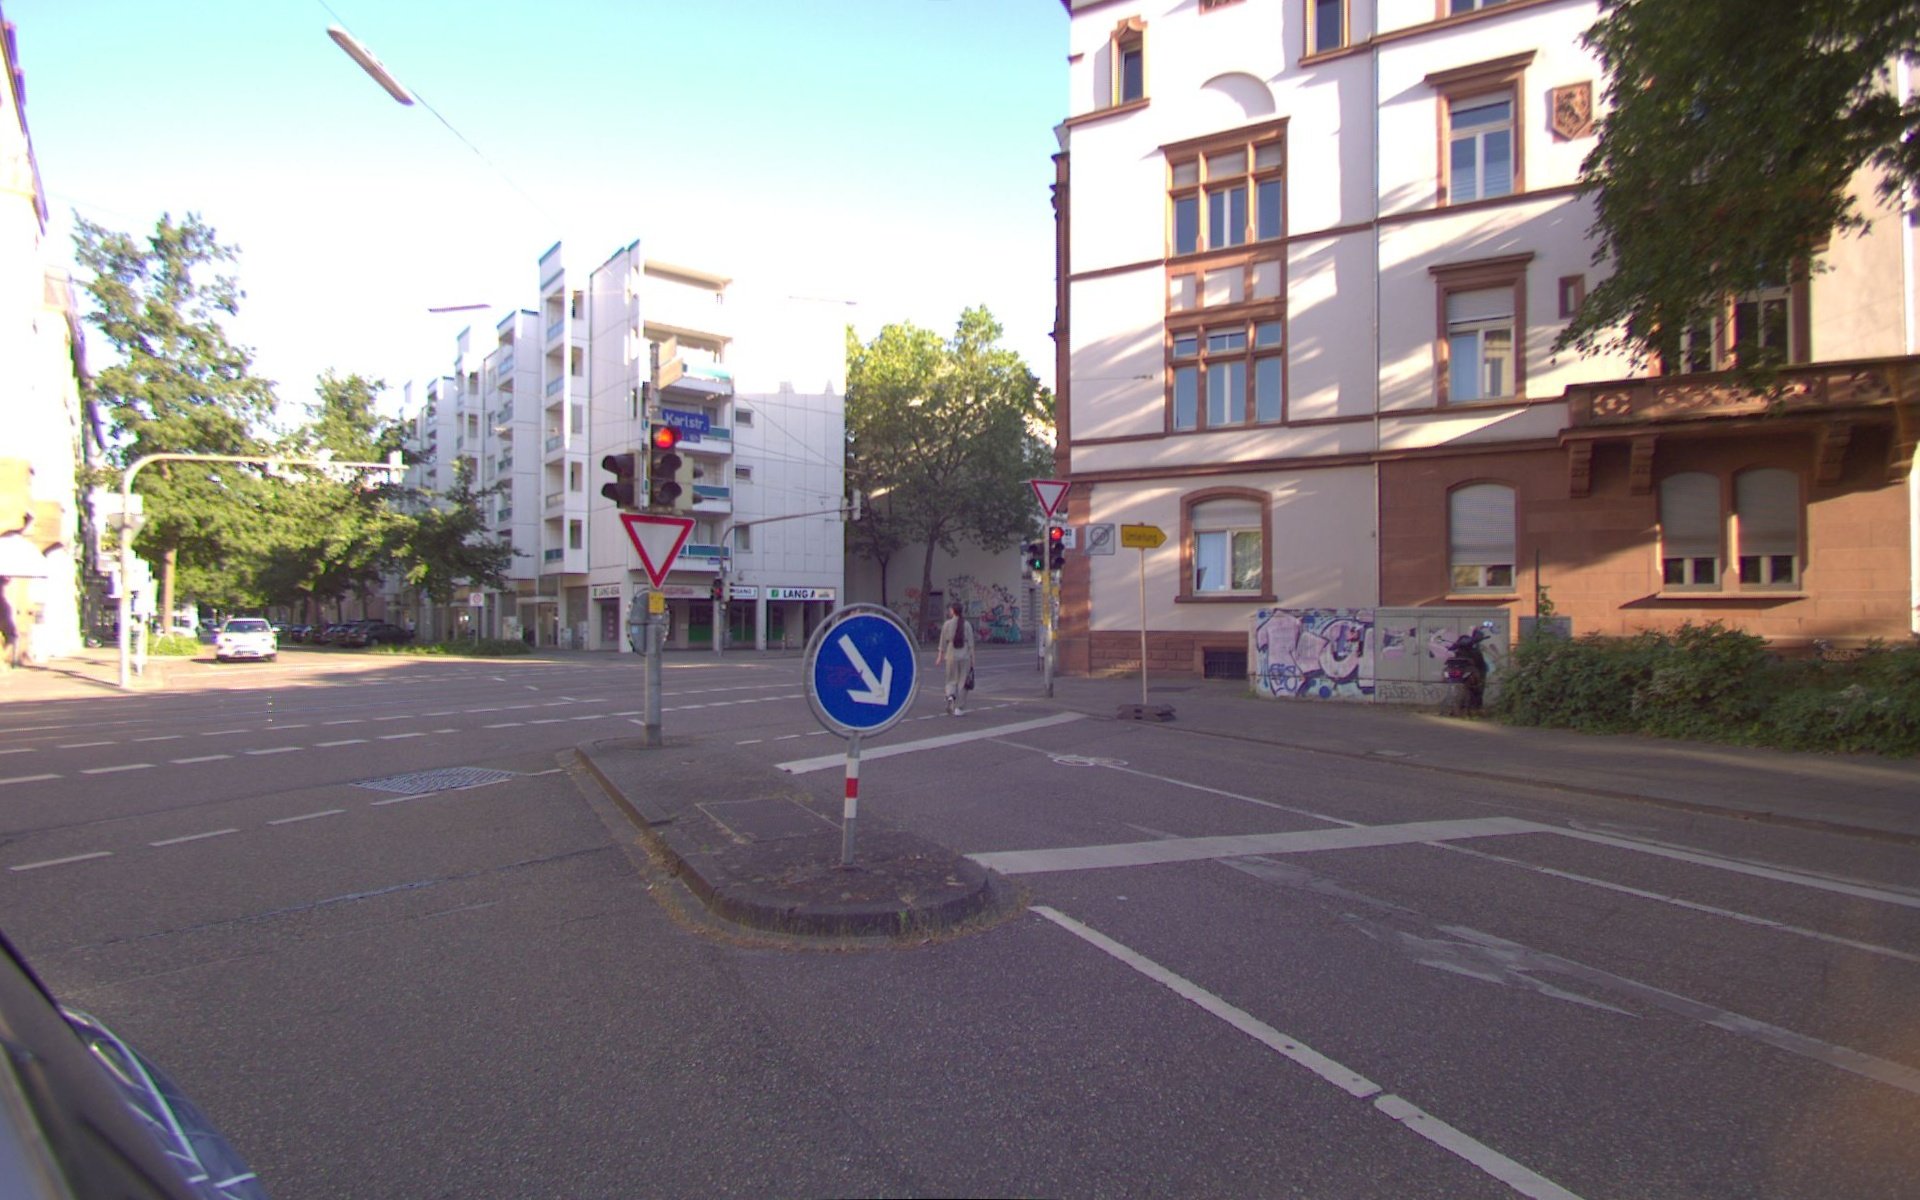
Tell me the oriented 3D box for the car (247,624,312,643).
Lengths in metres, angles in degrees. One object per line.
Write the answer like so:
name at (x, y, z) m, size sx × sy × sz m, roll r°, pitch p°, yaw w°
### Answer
car at (-57.334, 2.816, 85.313) m, size 2.001 × 1.597 × 4.242 m, roll -2°, pitch -2°, yaw 45°

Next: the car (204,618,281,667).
car at (-27.424, 1.573, 38.623) m, size 1.969 × 1.763 × 4.006 m, roll 1°, pitch -2°, yaw -41°

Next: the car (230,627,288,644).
car at (-67.073, 3.359, 96.835) m, size 2.001 × 1.597 × 4.242 m, roll -2°, pitch -2°, yaw 45°

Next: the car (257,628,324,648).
car at (-54.863, 3.081, 82.920) m, size 2.001 × 1.597 × 4.242 m, roll -2°, pitch -2°, yaw 45°

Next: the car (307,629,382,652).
car at (-44.198, 2.902, 72.684) m, size 2.001 × 1.597 × 4.242 m, roll -2°, pitch -2°, yaw 45°

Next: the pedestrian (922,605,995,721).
pedestrian at (-0.013, 0.949, 15.547) m, size 0.862 × 1.710 × 0.978 m, roll -1°, pitch -2°, yaw 18°

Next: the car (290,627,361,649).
car at (-48.220, 2.882, 76.977) m, size 2.001 × 1.597 × 4.242 m, roll -2°, pitch -2°, yaw 45°

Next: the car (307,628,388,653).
car at (-40.909, 2.673, 67.659) m, size 2.000 × 1.597 × 4.243 m, roll -2°, pitch -2°, yaw 43°

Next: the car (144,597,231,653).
car at (-47.438, 1.564, 62.028) m, size 3.276 × 3.203 × 8.089 m, roll 2°, pitch -2°, yaw -44°

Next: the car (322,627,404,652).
car at (-38.983, 2.548, 66.164) m, size 2.000 × 1.597 × 4.243 m, roll -2°, pitch -2°, yaw 43°

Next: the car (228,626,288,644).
car at (-64.260, 3.206, 92.637) m, size 2.001 × 1.597 × 4.242 m, roll -2°, pitch -2°, yaw 45°

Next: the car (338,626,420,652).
car at (-35.739, 2.375, 62.304) m, size 2.000 × 1.597 × 3.943 m, roll -2°, pitch -2°, yaw 43°

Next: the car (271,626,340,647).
car at (-51.873, 2.855, 80.243) m, size 2.001 × 1.597 × 4.242 m, roll -2°, pitch -2°, yaw 45°

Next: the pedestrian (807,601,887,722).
pedestrian at (-1.651, 0.879, 14.924) m, size 0.862 × 1.710 × 0.978 m, roll -1°, pitch -2°, yaw 18°

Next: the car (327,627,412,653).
car at (-37.378, 2.522, 64.123) m, size 2.000 × 1.597 × 4.243 m, roll -2°, pitch -2°, yaw 43°

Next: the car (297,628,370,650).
car at (-46.533, 2.892, 75.248) m, size 2.001 × 1.597 × 4.242 m, roll -2°, pitch -2°, yaw 45°

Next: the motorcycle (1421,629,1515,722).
motorcycle at (7.569, 1.065, 15.027) m, size 0.842 × 1.275 × 2.083 m, roll -1°, pitch -2°, yaw 38°

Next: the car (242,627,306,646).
car at (-59.241, 3.098, 87.419) m, size 2.001 × 1.597 × 4.242 m, roll -2°, pitch -2°, yaw 45°
